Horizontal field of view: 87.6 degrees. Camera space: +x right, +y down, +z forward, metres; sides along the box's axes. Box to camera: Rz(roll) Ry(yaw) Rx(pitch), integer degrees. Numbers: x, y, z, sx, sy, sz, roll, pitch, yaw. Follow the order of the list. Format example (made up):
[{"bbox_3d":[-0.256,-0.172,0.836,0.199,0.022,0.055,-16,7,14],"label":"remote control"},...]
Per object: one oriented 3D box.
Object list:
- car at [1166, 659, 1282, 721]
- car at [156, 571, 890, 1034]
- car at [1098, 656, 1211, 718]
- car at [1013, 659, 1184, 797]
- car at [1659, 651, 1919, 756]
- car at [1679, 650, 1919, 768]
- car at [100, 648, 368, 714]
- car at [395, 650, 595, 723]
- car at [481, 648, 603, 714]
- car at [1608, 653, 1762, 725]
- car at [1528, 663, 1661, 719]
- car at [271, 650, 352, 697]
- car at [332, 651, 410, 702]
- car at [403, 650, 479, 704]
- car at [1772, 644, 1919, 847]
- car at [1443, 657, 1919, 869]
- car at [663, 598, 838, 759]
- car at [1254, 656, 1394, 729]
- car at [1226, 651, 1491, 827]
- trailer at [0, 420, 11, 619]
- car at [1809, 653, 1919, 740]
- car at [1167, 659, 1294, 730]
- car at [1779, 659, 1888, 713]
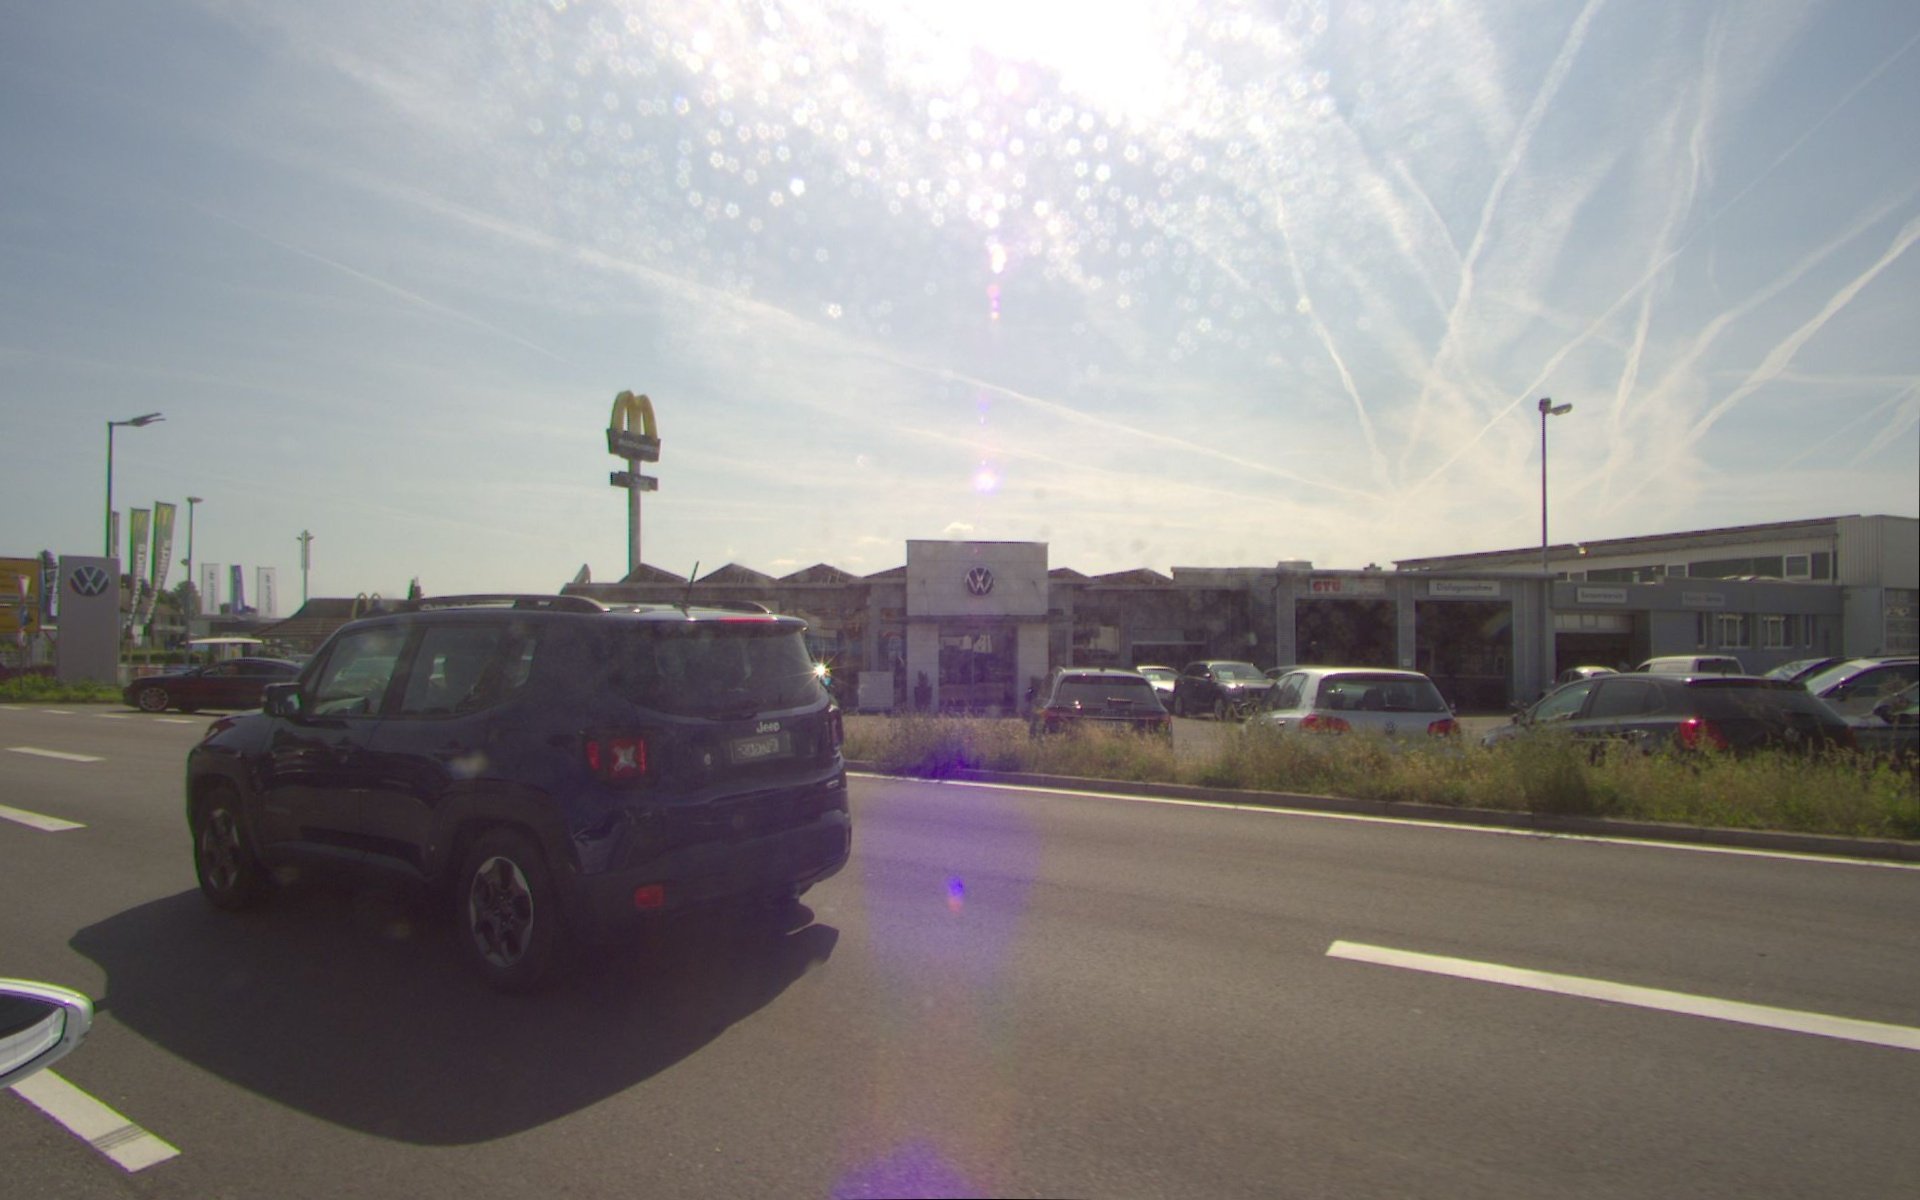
[{"bbox_3d":[8.189,2.758,31.419,1.744,1.675,4.167,0,-2,-14],"label":"car"},{"bbox_3d":[-2.487,0.796,5.445,3.943,1.675,1.767,-1,-2,32],"label":"car"},{"bbox_3d":[5.991,2.661,31.420,1.744,1.675,4.546,0,-2,-14],"label":"car"},{"bbox_3d":[1.715,1.604,13.766,1.741,1.470,4.345,0,-2,0],"label":"car"},{"bbox_3d":[15.412,1.785,17.975,4.469,1.675,1.962,-1,-2,29],"label":"car"},{"bbox_3d":[14.248,1.652,15.661,4.638,1.675,1.901,-1,-2,29],"label":"car"},{"bbox_3d":[-17.274,2.000,24.115,4.729,1.347,1.968,3,-7,-13],"label":"car"},{"bbox_3d":[-11.153,2.060,24.167,3.998,1.674,1.778,0,-3,7],"label":"car"},{"bbox_3d":[-11.892,2.256,28.787,1.741,1.692,4.027,0,-2,2],"label":"car"},{"bbox_3d":[22.439,2.692,31.234,1.741,1.973,4.540,0,-2,4],"label":"car"},{"bbox_3d":[19.706,2.796,31.300,1.741,1.510,4.078,0,-2,4],"label":"car"},{"bbox_3d":[-24.790,2.762,38.440,1.830,1.596,4.222,0,-2,-22],"label":"car"},{"bbox_3d":[-20.331,2.596,34.709,1.747,1.552,4.079,0,-2,-22],"label":"car"},{"bbox_3d":[-16.519,2.397,32.040,1.720,1.510,4.253,0,-2,-22],"label":"car"},{"bbox_3d":[8.909,1.213,7.891,1.741,1.675,4.002,0,-2,0],"label":"car"},{"bbox_3d":[6.758,1.409,10.015,1.741,1.572,4.001,0,-2,-3],"label":"car"},{"bbox_3d":[-3.188,1.164,16.121,1.729,2.241,4.351,0,-2,3],"label":"car"},{"bbox_3d":[9.558,2.372,26.651,1.742,1.675,4.076,0,-2,-9],"label":"car"},{"bbox_3d":[4.307,1.417,11.499,1.679,1.578,4.001,0,-2,4],"label":"car"},{"bbox_3d":[-19.214,-0.176,15.889,12.981,4.419,2.836,-1,-4,33],"label":"trailer"},{"bbox_3d":[20.830,2.026,20.997,4.482,1.752,1.811,-2,-2,38],"label":"car"},{"bbox_3d":[7.066,2.440,26.577,1.662,1.628,4.075,1,-2,-10],"label":"car"},{"bbox_3d":[31.907,3.098,36.722,1.951,1.752,3.902,-1,-2,25],"label":"car"}]
